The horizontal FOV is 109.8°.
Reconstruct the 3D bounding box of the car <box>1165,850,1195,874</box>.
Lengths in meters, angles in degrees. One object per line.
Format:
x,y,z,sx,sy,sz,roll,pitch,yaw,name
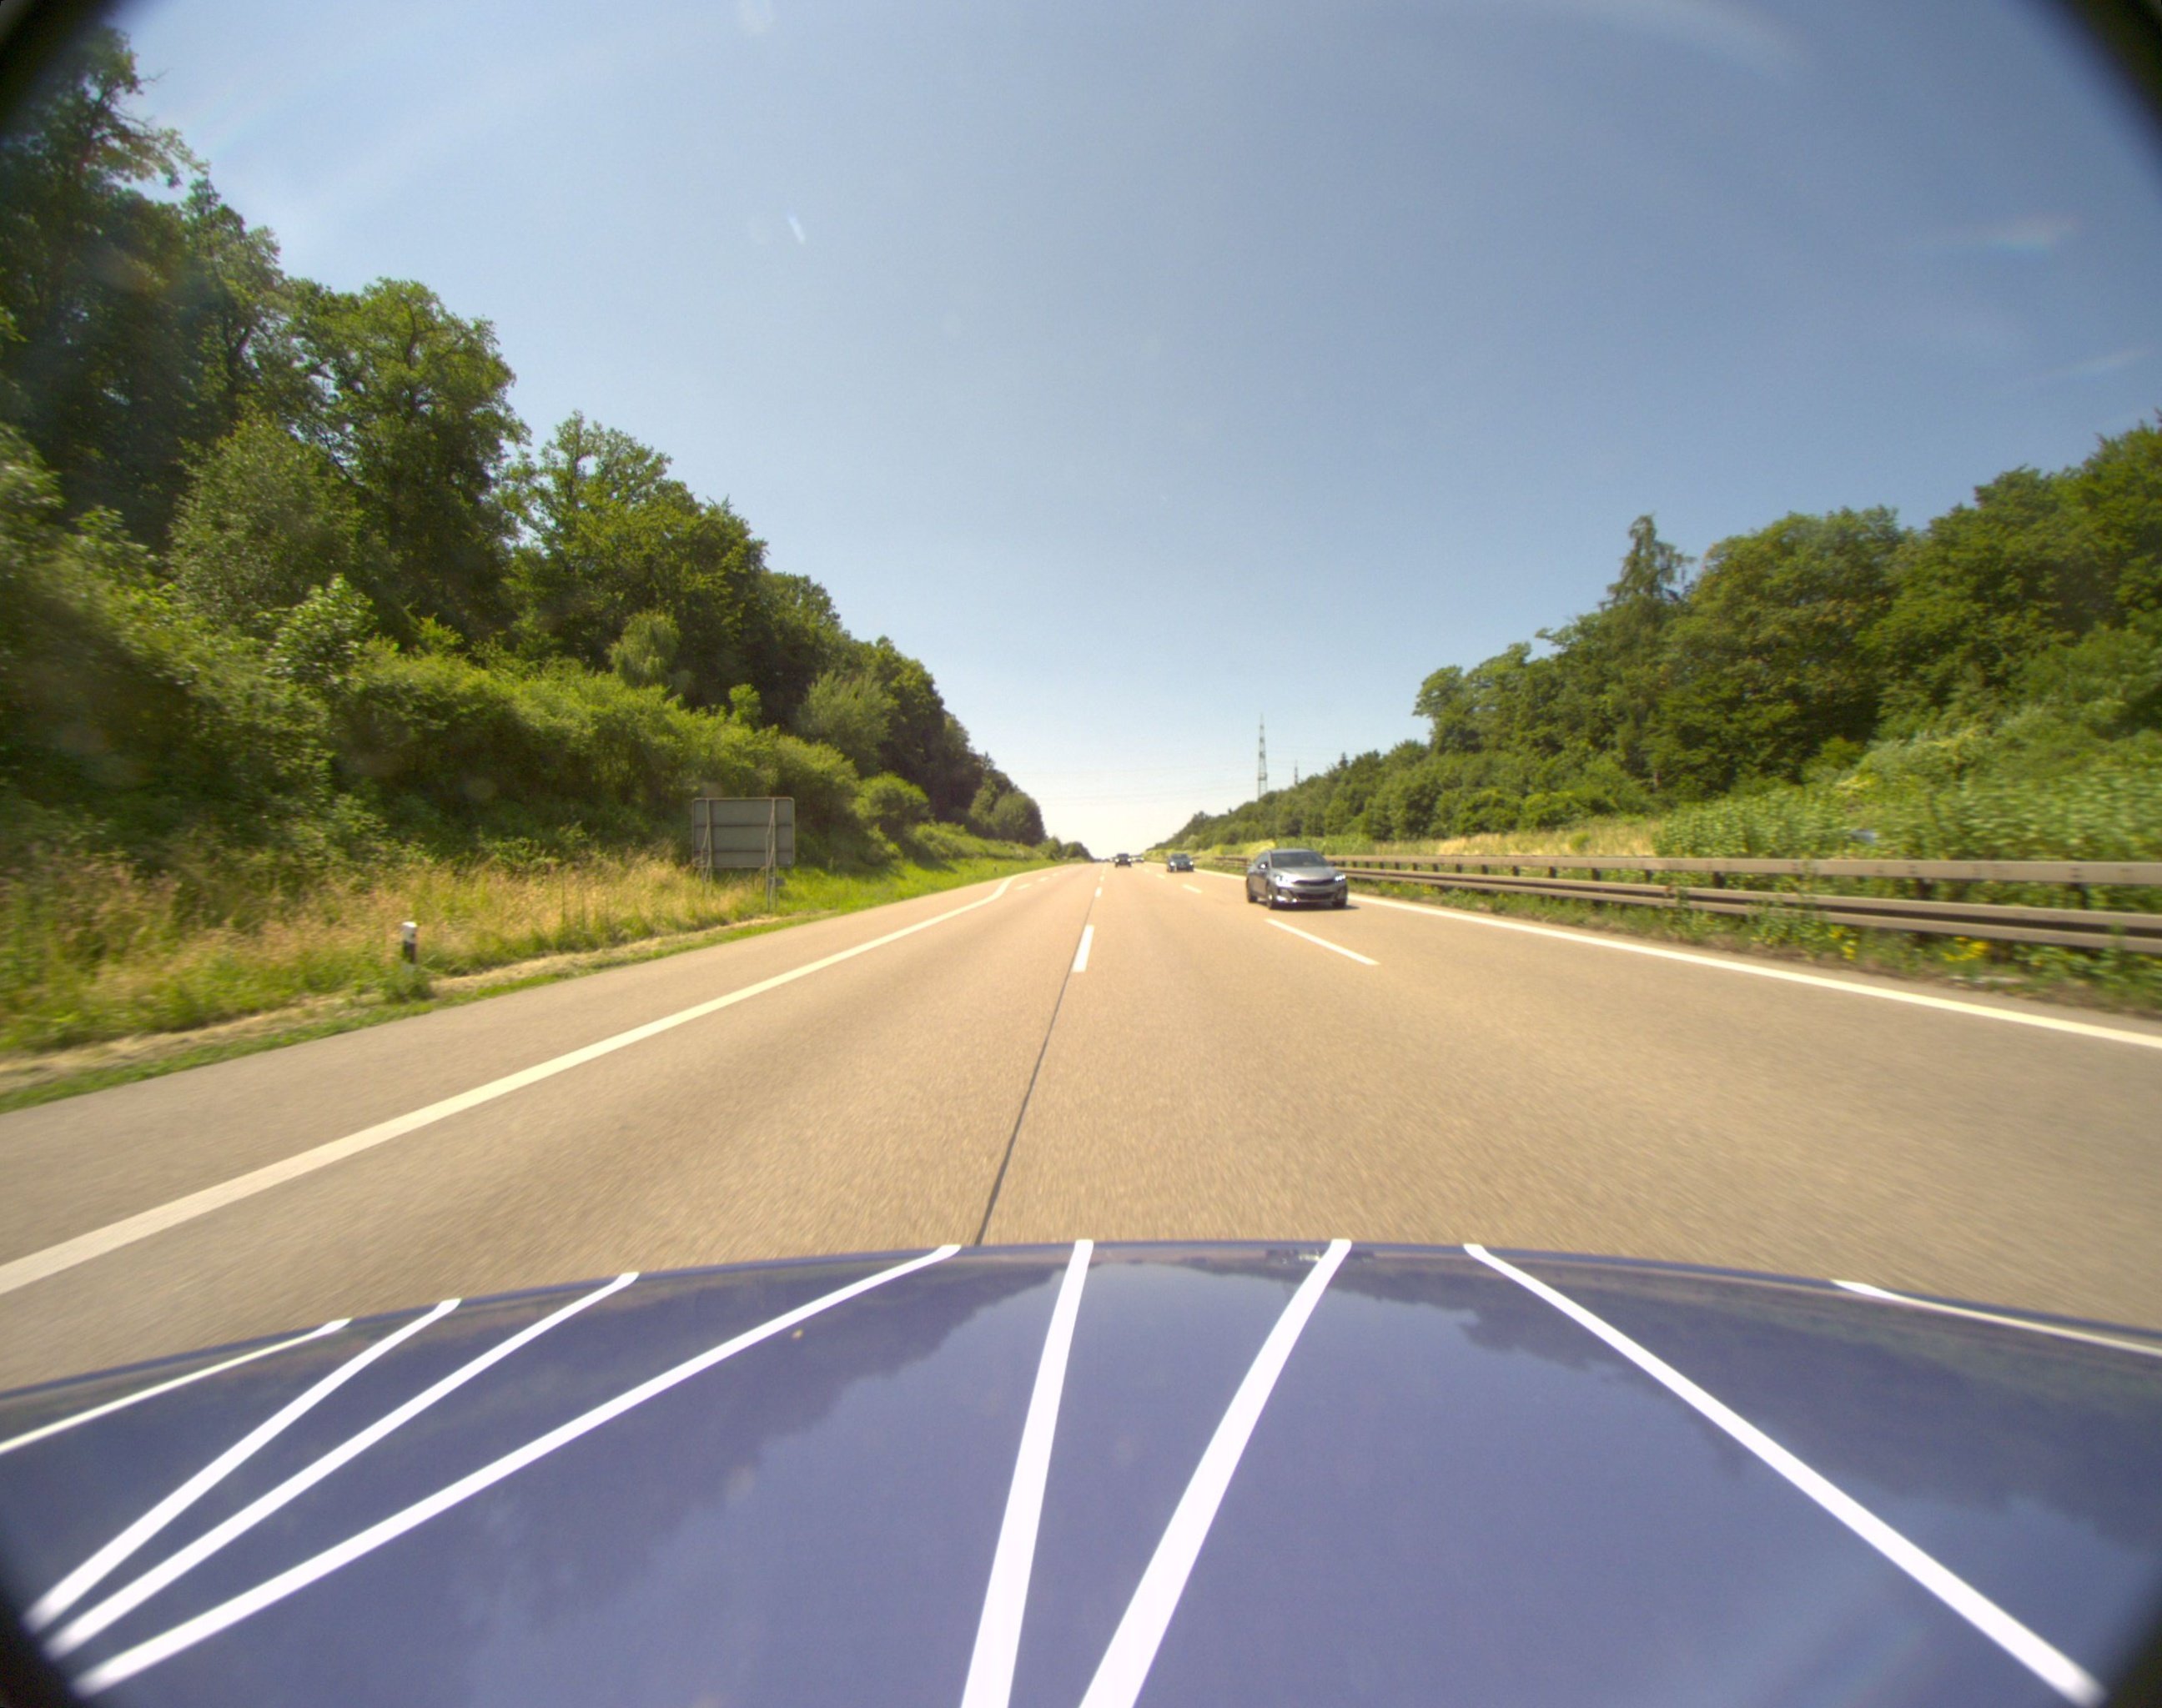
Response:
7.368,0.567,56.877,1.741,1.610,3.943,-2,0,1,car

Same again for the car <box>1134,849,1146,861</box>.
10.044,0.178,129.694,1.875,2.002,4.000,-2,0,1,car

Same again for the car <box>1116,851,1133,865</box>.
5.039,0.423,88.264,1.787,1.550,3.943,-2,0,1,car

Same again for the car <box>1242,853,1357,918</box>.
5.398,0.714,19.301,1.768,1.400,3.999,-2,0,1,car
